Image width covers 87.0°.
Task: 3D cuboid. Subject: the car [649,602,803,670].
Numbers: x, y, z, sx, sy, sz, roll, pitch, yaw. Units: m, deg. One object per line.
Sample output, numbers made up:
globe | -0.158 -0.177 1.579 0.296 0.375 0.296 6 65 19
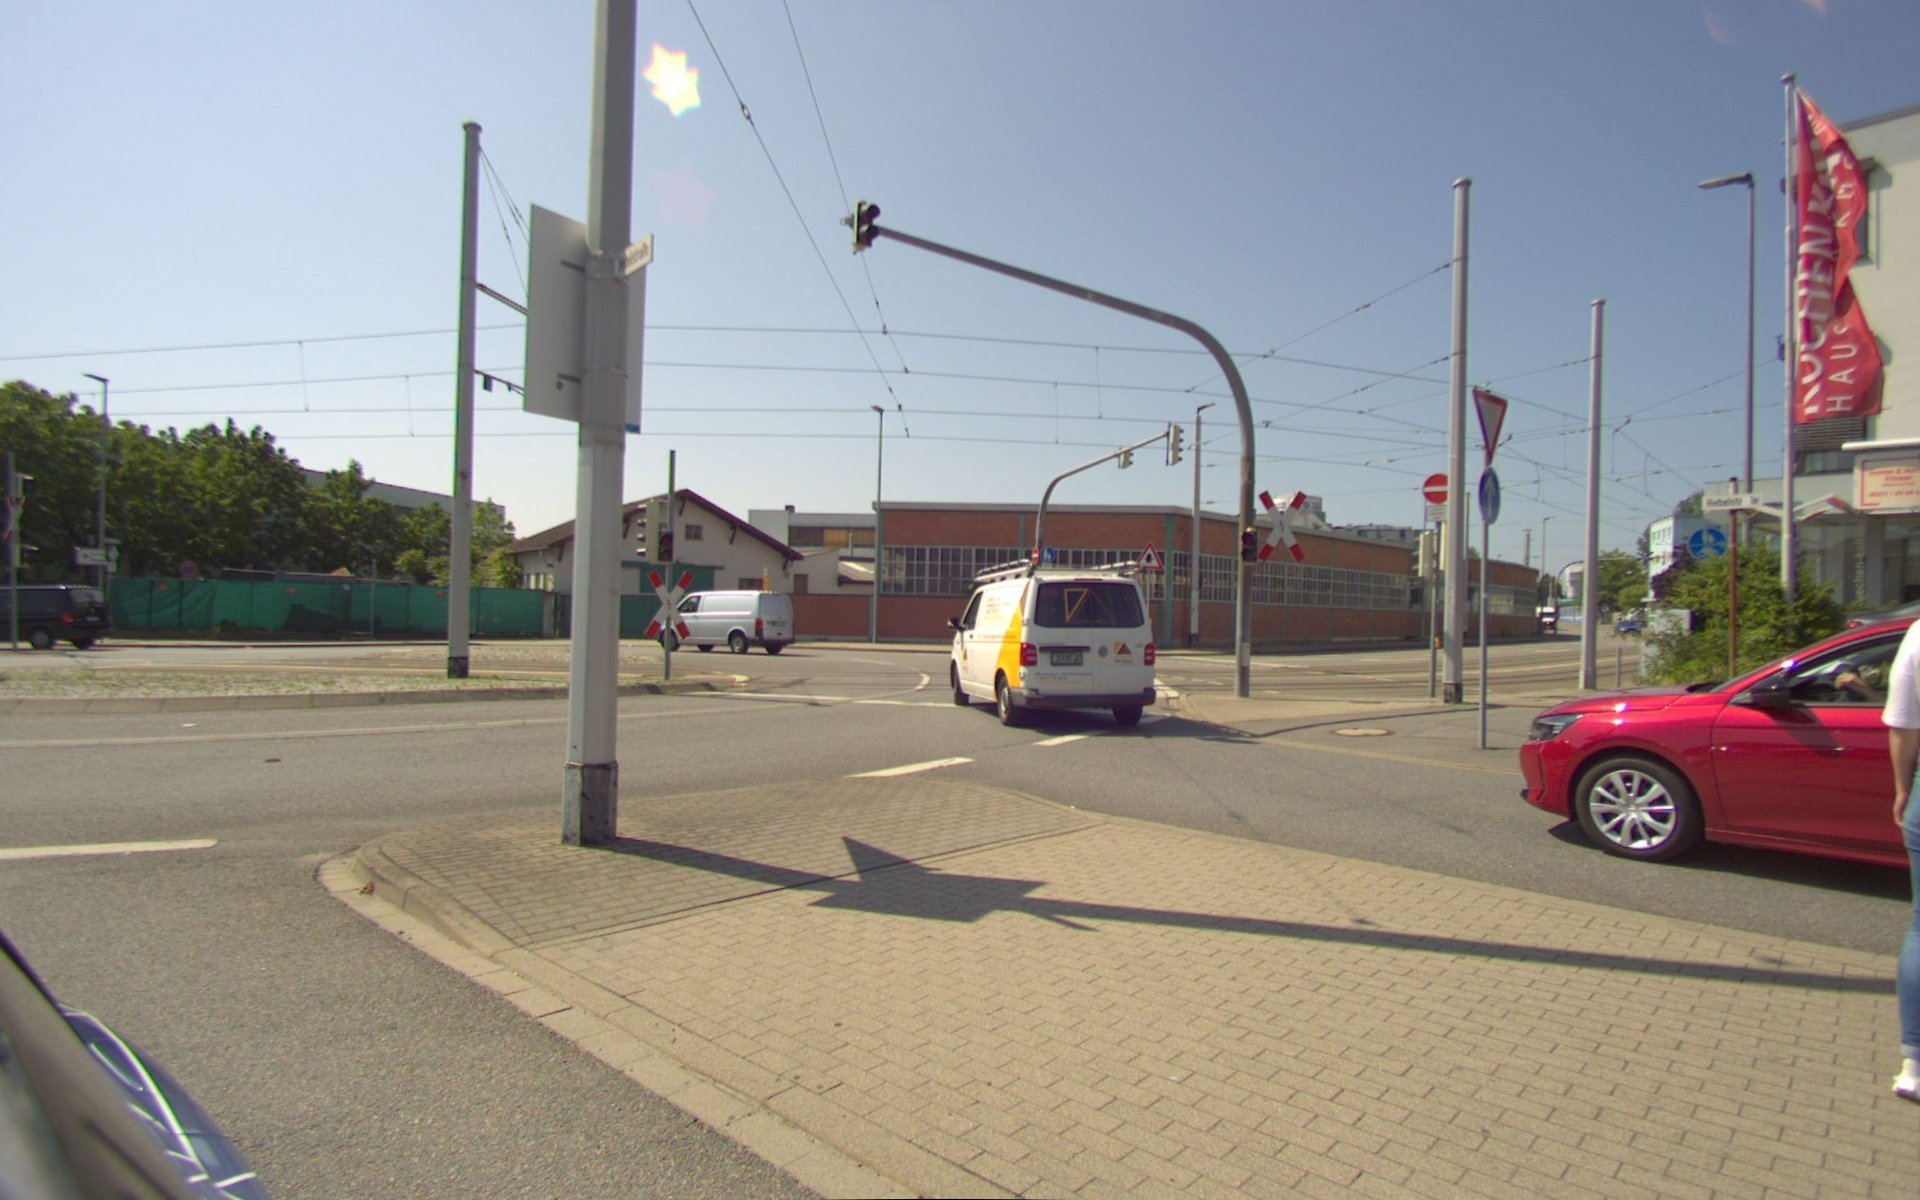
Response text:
car | -7.496 1.105 32.321 4.812 1.950 1.913 1 -1 31

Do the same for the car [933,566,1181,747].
car | 1.128 0.728 14.554 1.994 2.130 4.947 0 -2 -14

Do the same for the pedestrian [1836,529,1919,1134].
pedestrian | 2.972 0.638 2.673 0.665 1.669 0.759 0 -2 8

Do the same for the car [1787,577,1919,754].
car | 12.368 0.731 10.708 1.934 1.980 5.292 2 -2 -37

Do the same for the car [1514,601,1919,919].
car | 5.349 0.754 5.053 1.817 1.475 4.152 1 -2 -38

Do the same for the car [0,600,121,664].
car | -29.212 0.996 31.297 4.563 1.925 2.103 0 -2 -11
